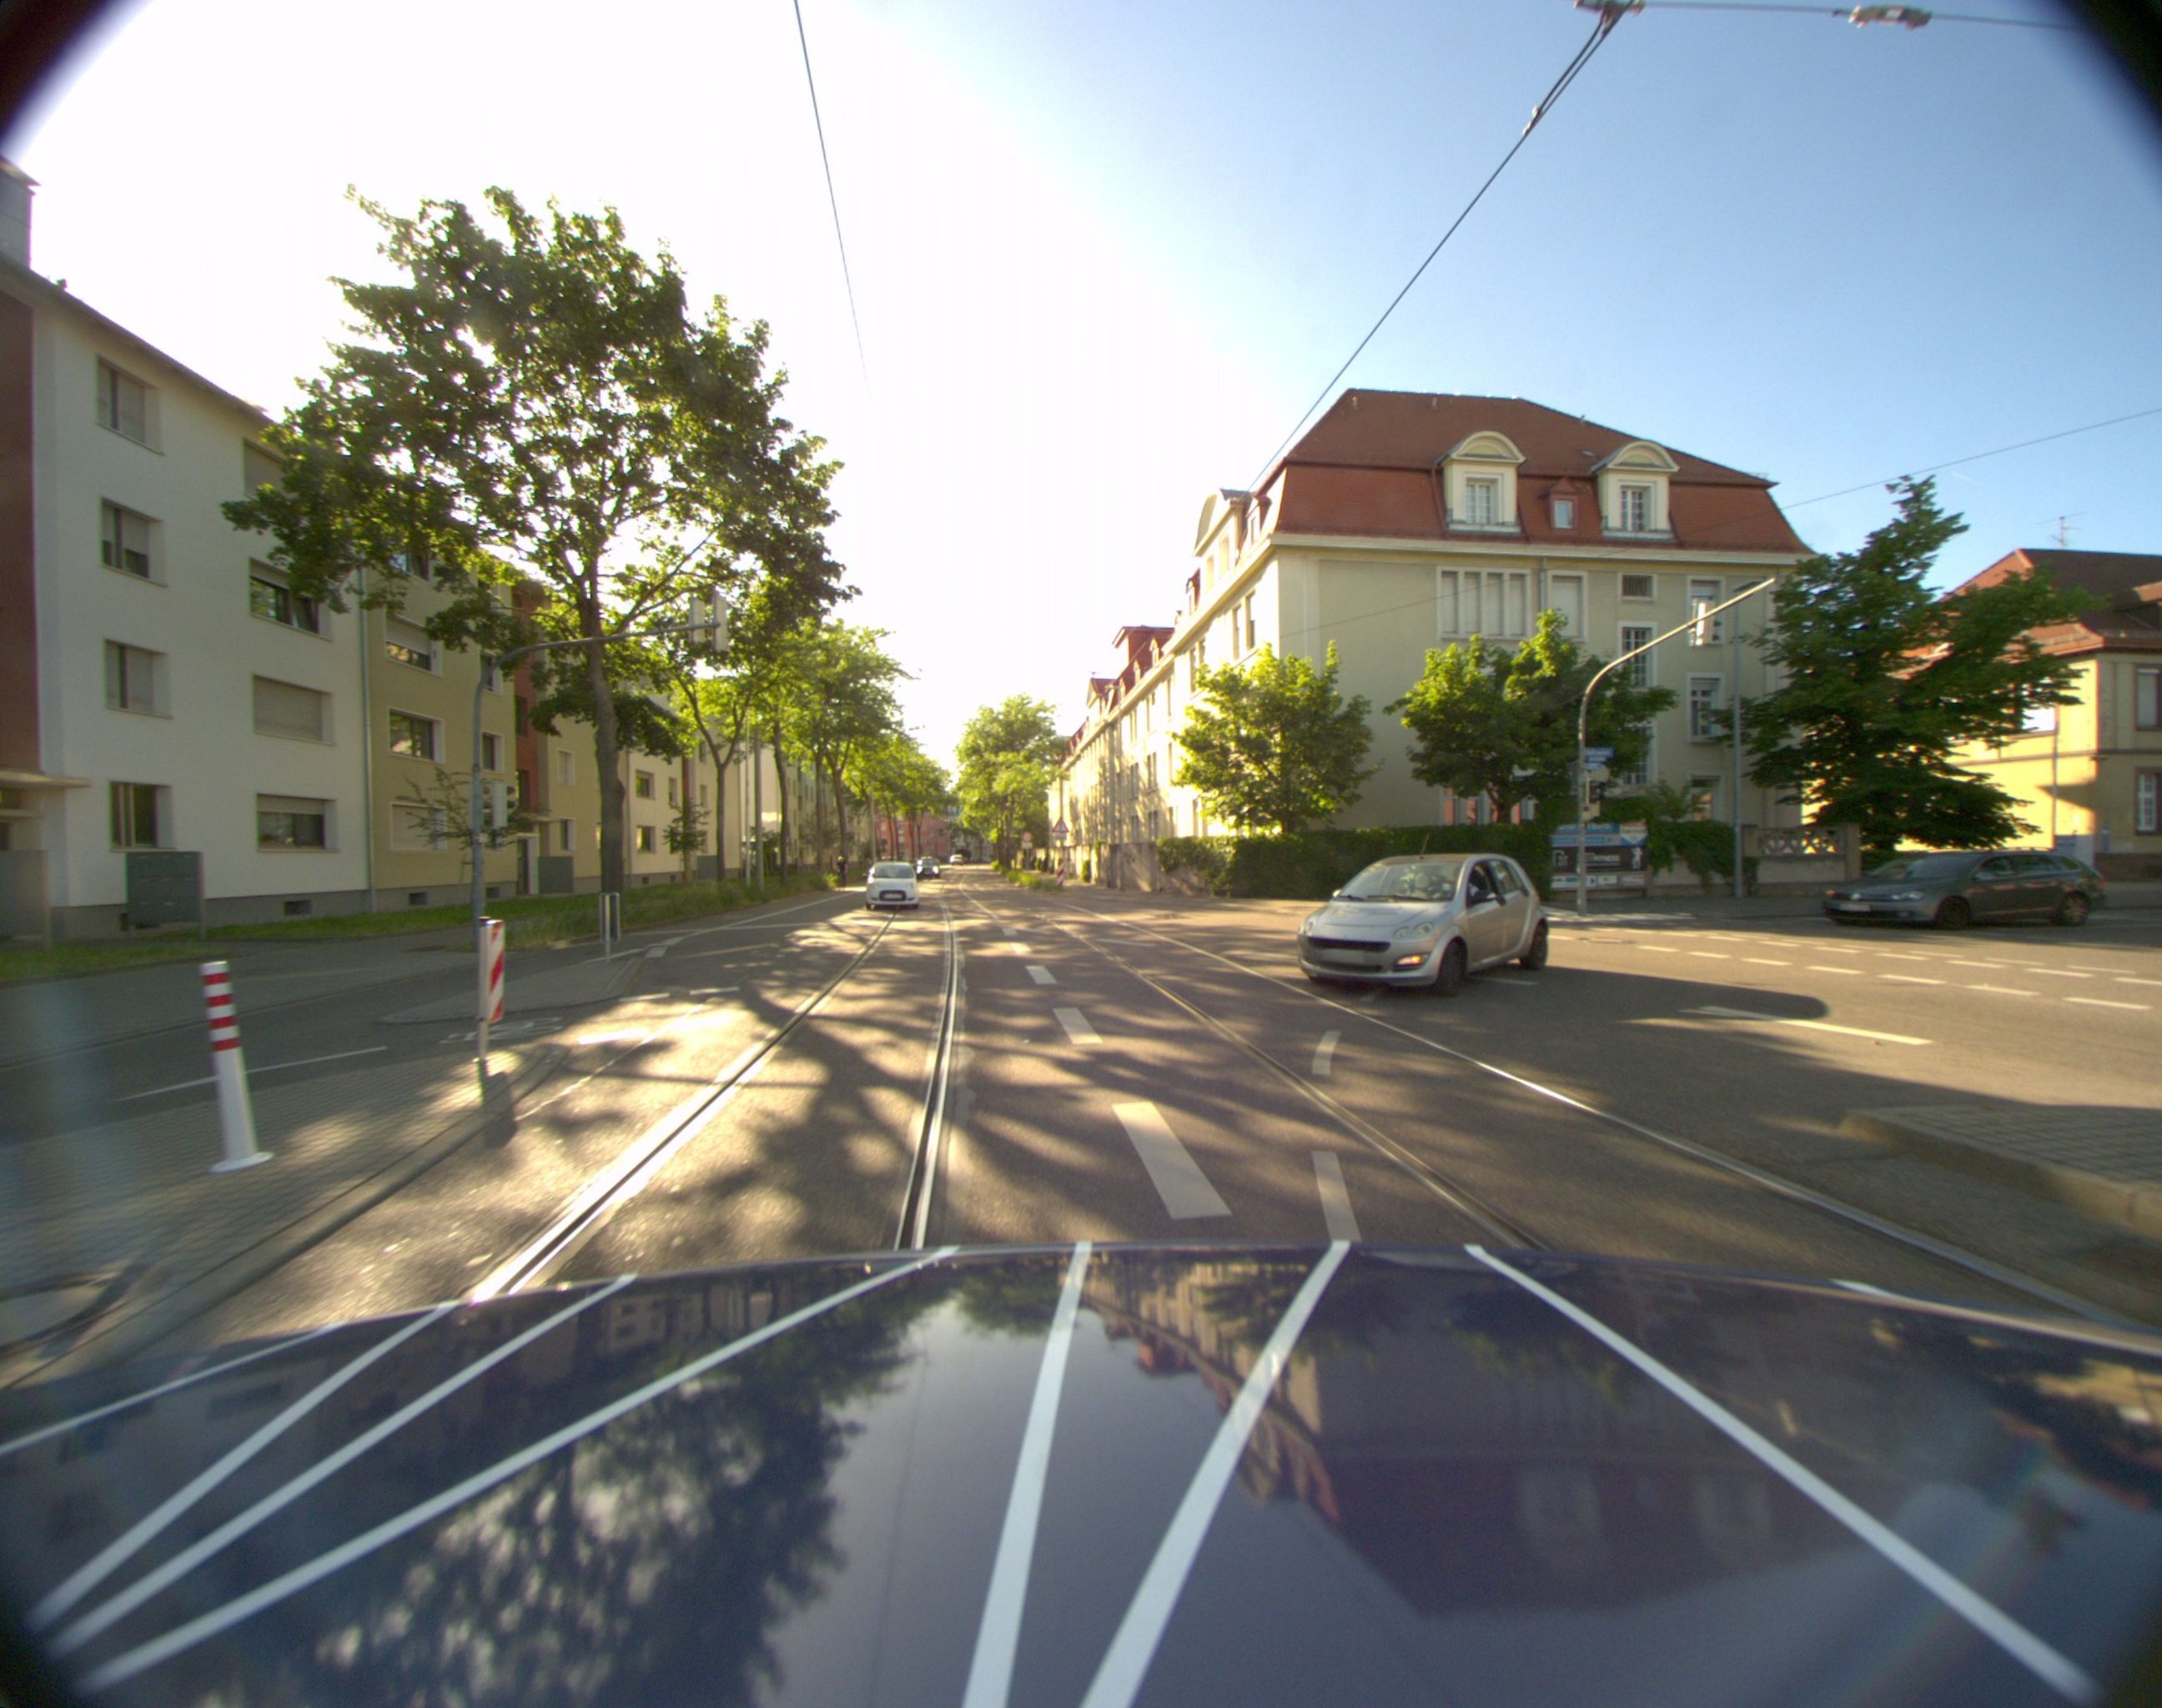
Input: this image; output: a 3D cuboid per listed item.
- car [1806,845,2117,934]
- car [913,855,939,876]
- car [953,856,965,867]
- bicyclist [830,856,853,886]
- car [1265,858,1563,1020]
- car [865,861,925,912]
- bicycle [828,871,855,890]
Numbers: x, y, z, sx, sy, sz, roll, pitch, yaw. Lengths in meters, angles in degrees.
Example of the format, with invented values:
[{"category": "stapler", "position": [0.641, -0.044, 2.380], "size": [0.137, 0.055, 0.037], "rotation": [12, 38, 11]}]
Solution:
[{"category": "car", "position": [16.445, 0.608, 14.290], "size": [4.405, 1.450, 1.742], "rotation": [-1, 0, -8]}, {"category": "car", "position": [-12.341, 0.870, 60.349], "size": [1.744, 1.567, 3.688], "rotation": [-1, 0, -16]}, {"category": "car", "position": [-20.537, 1.235, 127.621], "size": [1.826, 1.751, 3.689], "rotation": [-3, 1, -11]}, {"category": "bicyclist", "position": [-12.604, 0.884, 40.036], "size": [0.819, 1.491, 1.258], "rotation": [-1, 1, -3]}, {"category": "car", "position": [4.038, 0.808, 8.969], "size": [3.700, 1.450, 1.738], "rotation": [-1, 1, -40]}, {"category": "car", "position": [-6.079, 0.978, 24.626], "size": [1.744, 1.450, 3.688], "rotation": [-1, 0, -16]}, {"category": "bicycle", "position": [-12.606, 1.394, 40.071], "size": [0.827, 0.880, 2.197], "rotation": [-1, 0, -3]}]
